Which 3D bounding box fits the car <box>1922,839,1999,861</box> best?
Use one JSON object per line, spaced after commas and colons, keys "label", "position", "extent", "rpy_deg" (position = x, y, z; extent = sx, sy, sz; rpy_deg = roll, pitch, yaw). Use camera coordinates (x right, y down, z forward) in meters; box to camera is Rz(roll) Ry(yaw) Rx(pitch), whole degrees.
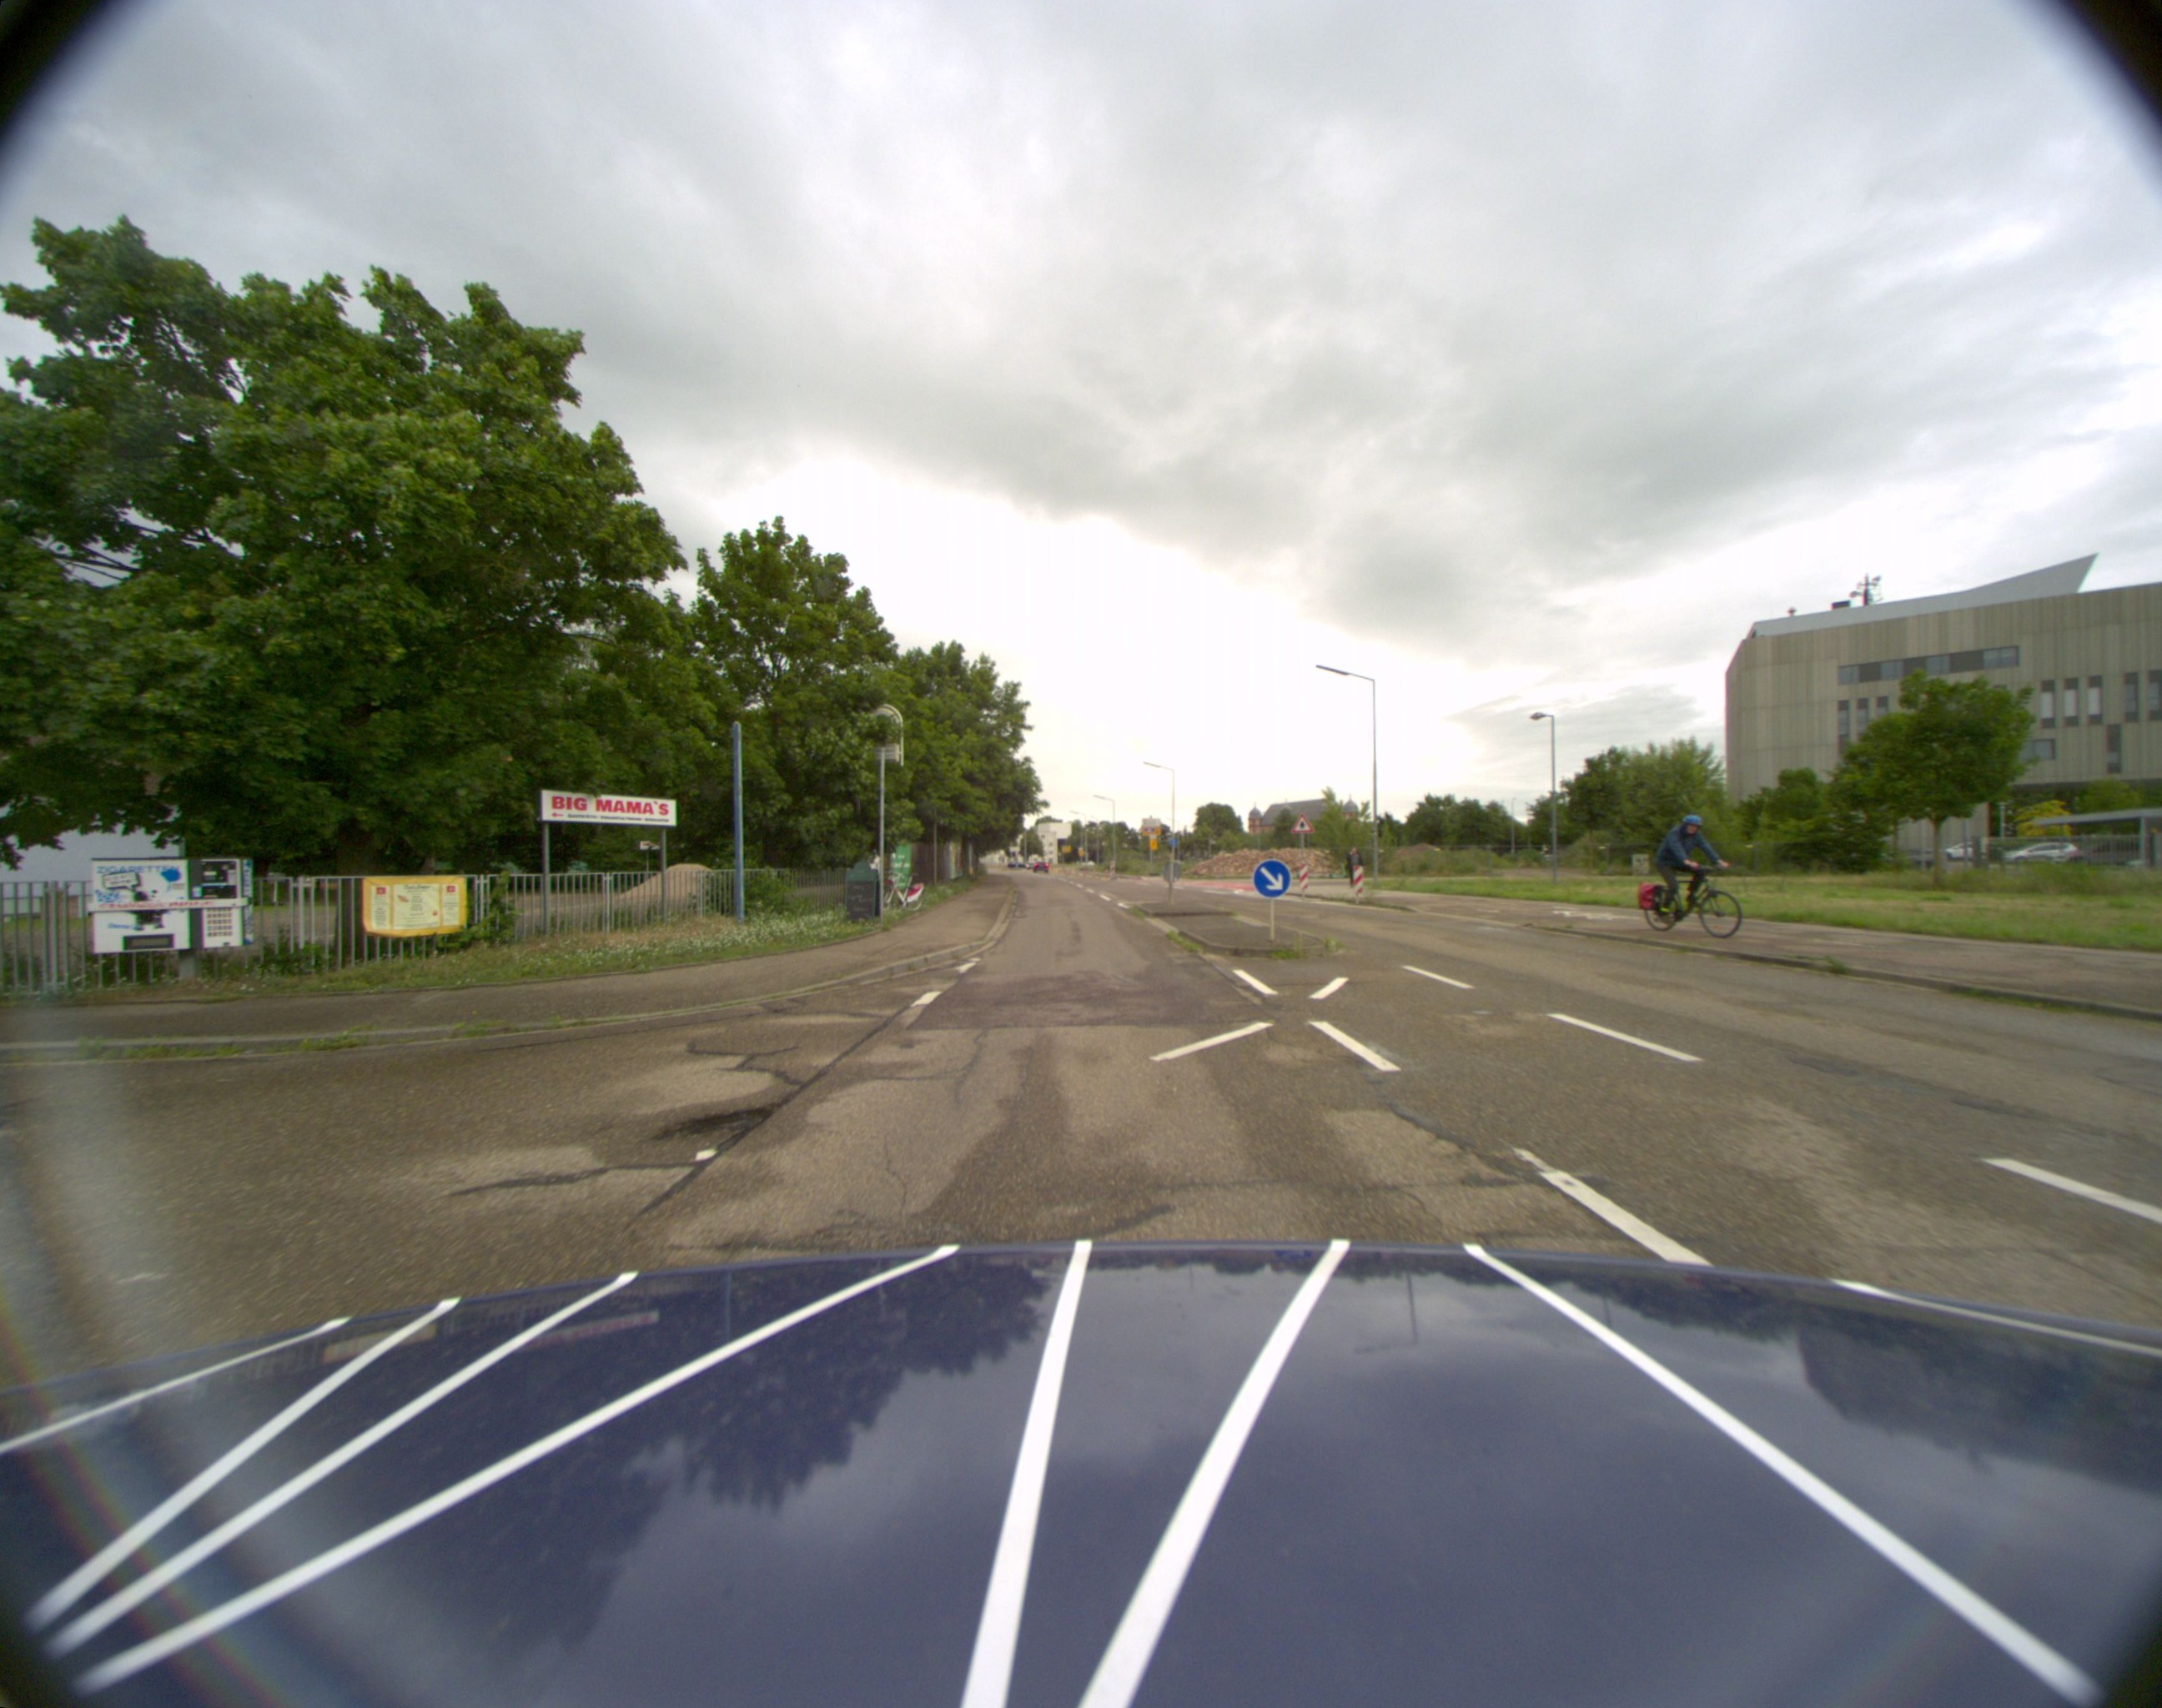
{"label": "car", "position": [73.135, -0.300, 63.252], "extent": [3.877, 1.751, 1.731], "rpy_deg": [-2, 0, 36]}

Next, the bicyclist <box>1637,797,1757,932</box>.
{"label": "bicyclist", "position": [9.602, 0.170, 11.900], "extent": [0.864, 2.001, 1.177], "rpy_deg": [-1, -1, -3]}

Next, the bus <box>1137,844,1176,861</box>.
{"label": "bus", "position": [17.042, -0.307, 171.520], "extent": [8.375, 3.626, 2.740], "rpy_deg": [-2, -1, 34]}

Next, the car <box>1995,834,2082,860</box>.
{"label": "car", "position": [67.974, -0.491, 54.019], "extent": [3.469, 1.751, 1.731], "rpy_deg": [-2, 0, 36]}

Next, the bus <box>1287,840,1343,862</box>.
{"label": "bus", "position": [45.421, -0.564, 147.682], "extent": [9.863, 3.958, 2.740], "rpy_deg": [-2, -1, 38]}

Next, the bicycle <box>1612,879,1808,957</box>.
{"label": "bicycle", "position": [9.620, 0.931, 11.818], "extent": [0.886, 1.046, 2.469], "rpy_deg": [-1, -1, -4]}

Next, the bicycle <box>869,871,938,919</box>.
{"label": "bicycle", "position": [-4.405, 0.996, 19.016], "extent": [0.796, 1.104, 1.955], "rpy_deg": [-1, 0, 18]}

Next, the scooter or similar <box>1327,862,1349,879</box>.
{"label": "scooter or similar", "position": [17.264, 1.110, 51.035], "extent": [1.335, 1.135, 0.412], "rpy_deg": [-2, 1, 25]}

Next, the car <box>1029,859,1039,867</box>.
{"label": "car", "position": [-8.995, 1.739, 145.071], "extent": [1.756, 1.578, 3.899], "rpy_deg": [2, -1, -7]}

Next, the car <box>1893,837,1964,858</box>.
{"label": "car", "position": [74.462, -0.536, 66.863], "extent": [3.877, 1.751, 1.731], "rpy_deg": [-2, 0, 36]}

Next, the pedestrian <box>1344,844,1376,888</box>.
{"label": "pedestrian", "position": [11.547, 0.514, 31.448], "extent": [0.846, 1.772, 1.077], "rpy_deg": [-1, -1, -5]}

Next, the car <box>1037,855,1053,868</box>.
{"label": "car", "position": [-4.658, 1.003, 98.383], "extent": [1.886, 1.557, 4.357], "rpy_deg": [-1, -1, -5]}

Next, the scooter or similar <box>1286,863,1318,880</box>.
{"label": "scooter or similar", "position": [14.925, 1.168, 51.341], "extent": [1.898, 1.135, 0.658], "rpy_deg": [-2, 0, 40]}
